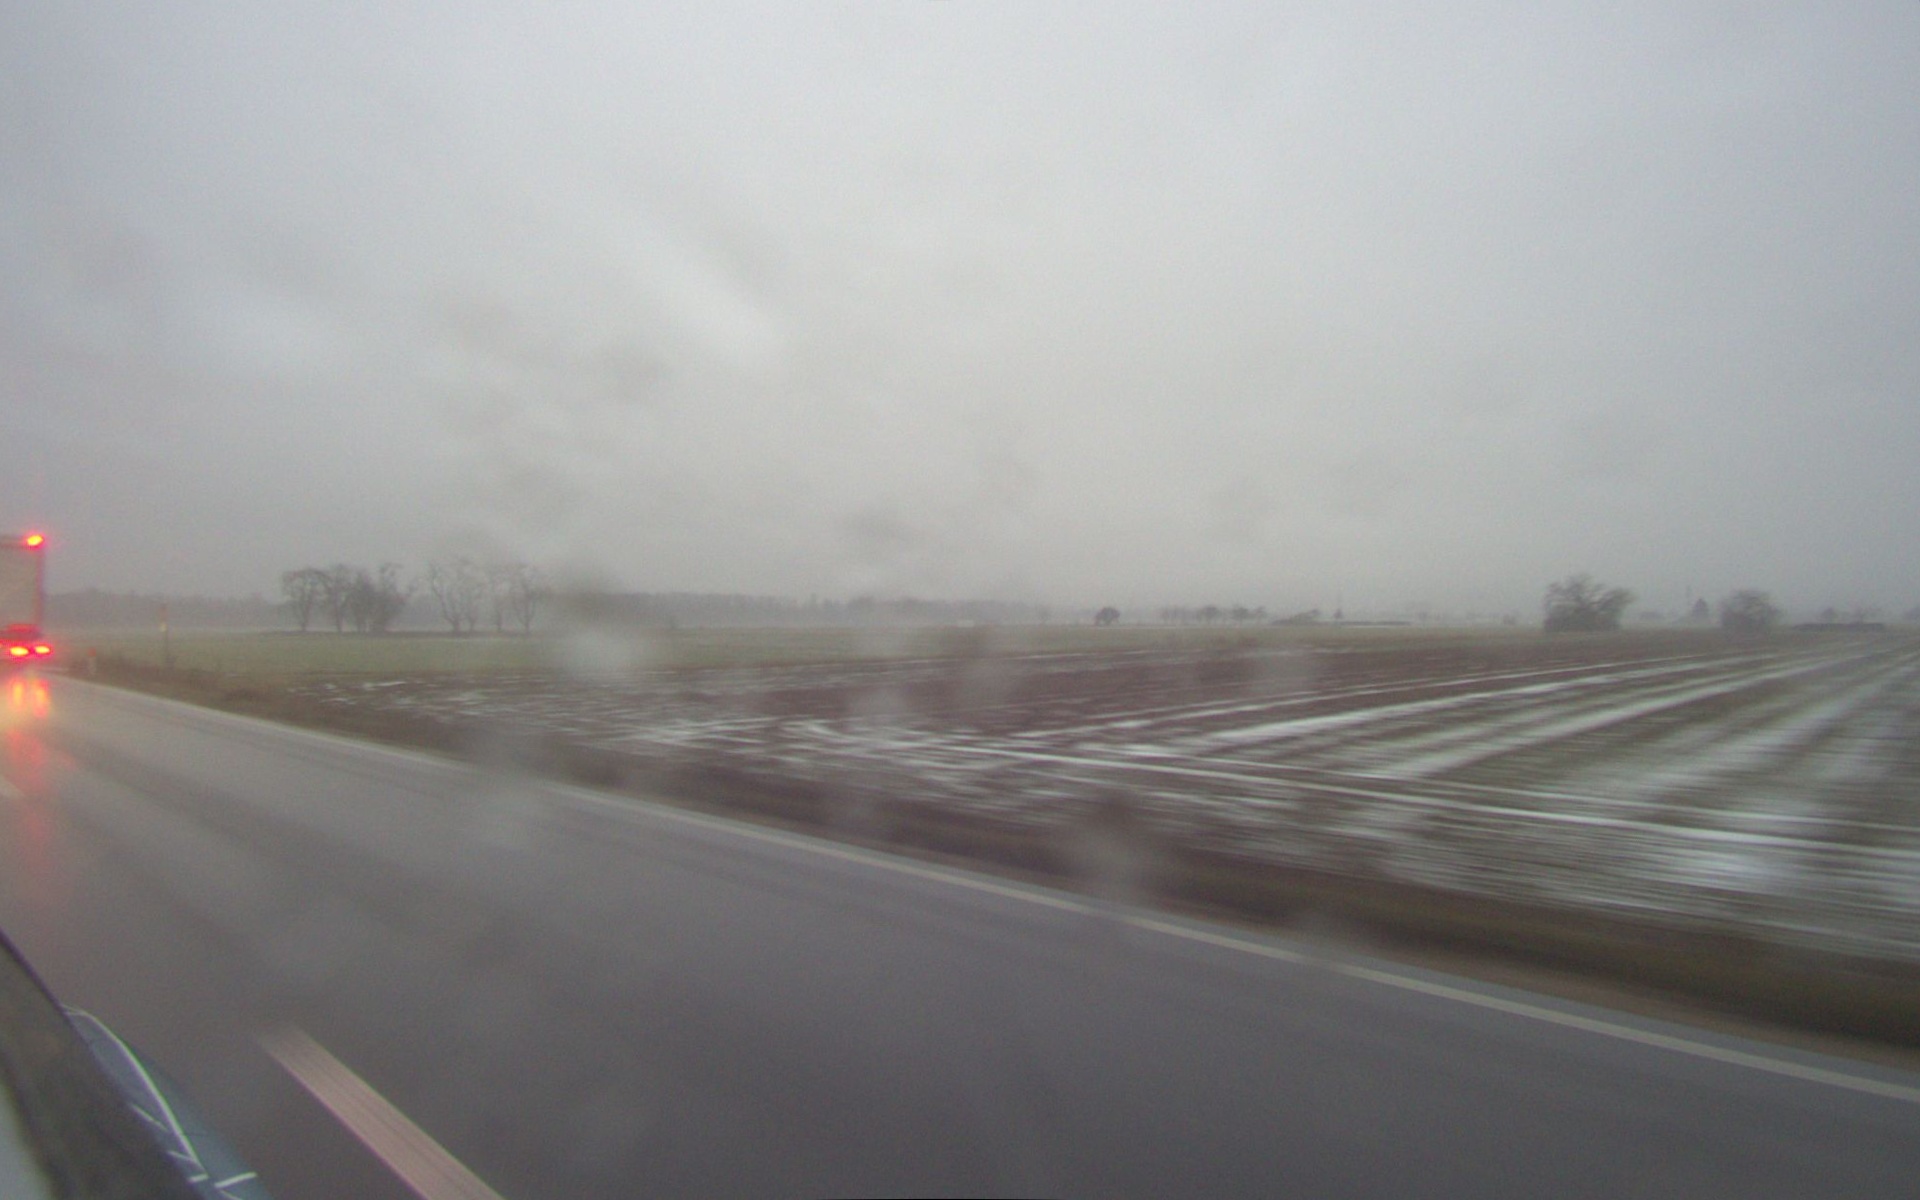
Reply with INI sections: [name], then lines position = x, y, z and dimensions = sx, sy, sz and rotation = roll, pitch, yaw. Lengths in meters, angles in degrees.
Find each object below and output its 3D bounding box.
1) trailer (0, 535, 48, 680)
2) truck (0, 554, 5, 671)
[trailer]
position = -32.137, 0.322, 32.524
dimensions = 12.374, 4.111, 2.673
rotation = -2, -2, 41
[truck]
position = -37.208, 0.470, 36.961
dimensions = 6.584, 4.136, 2.697
rotation = -2, -2, 41
